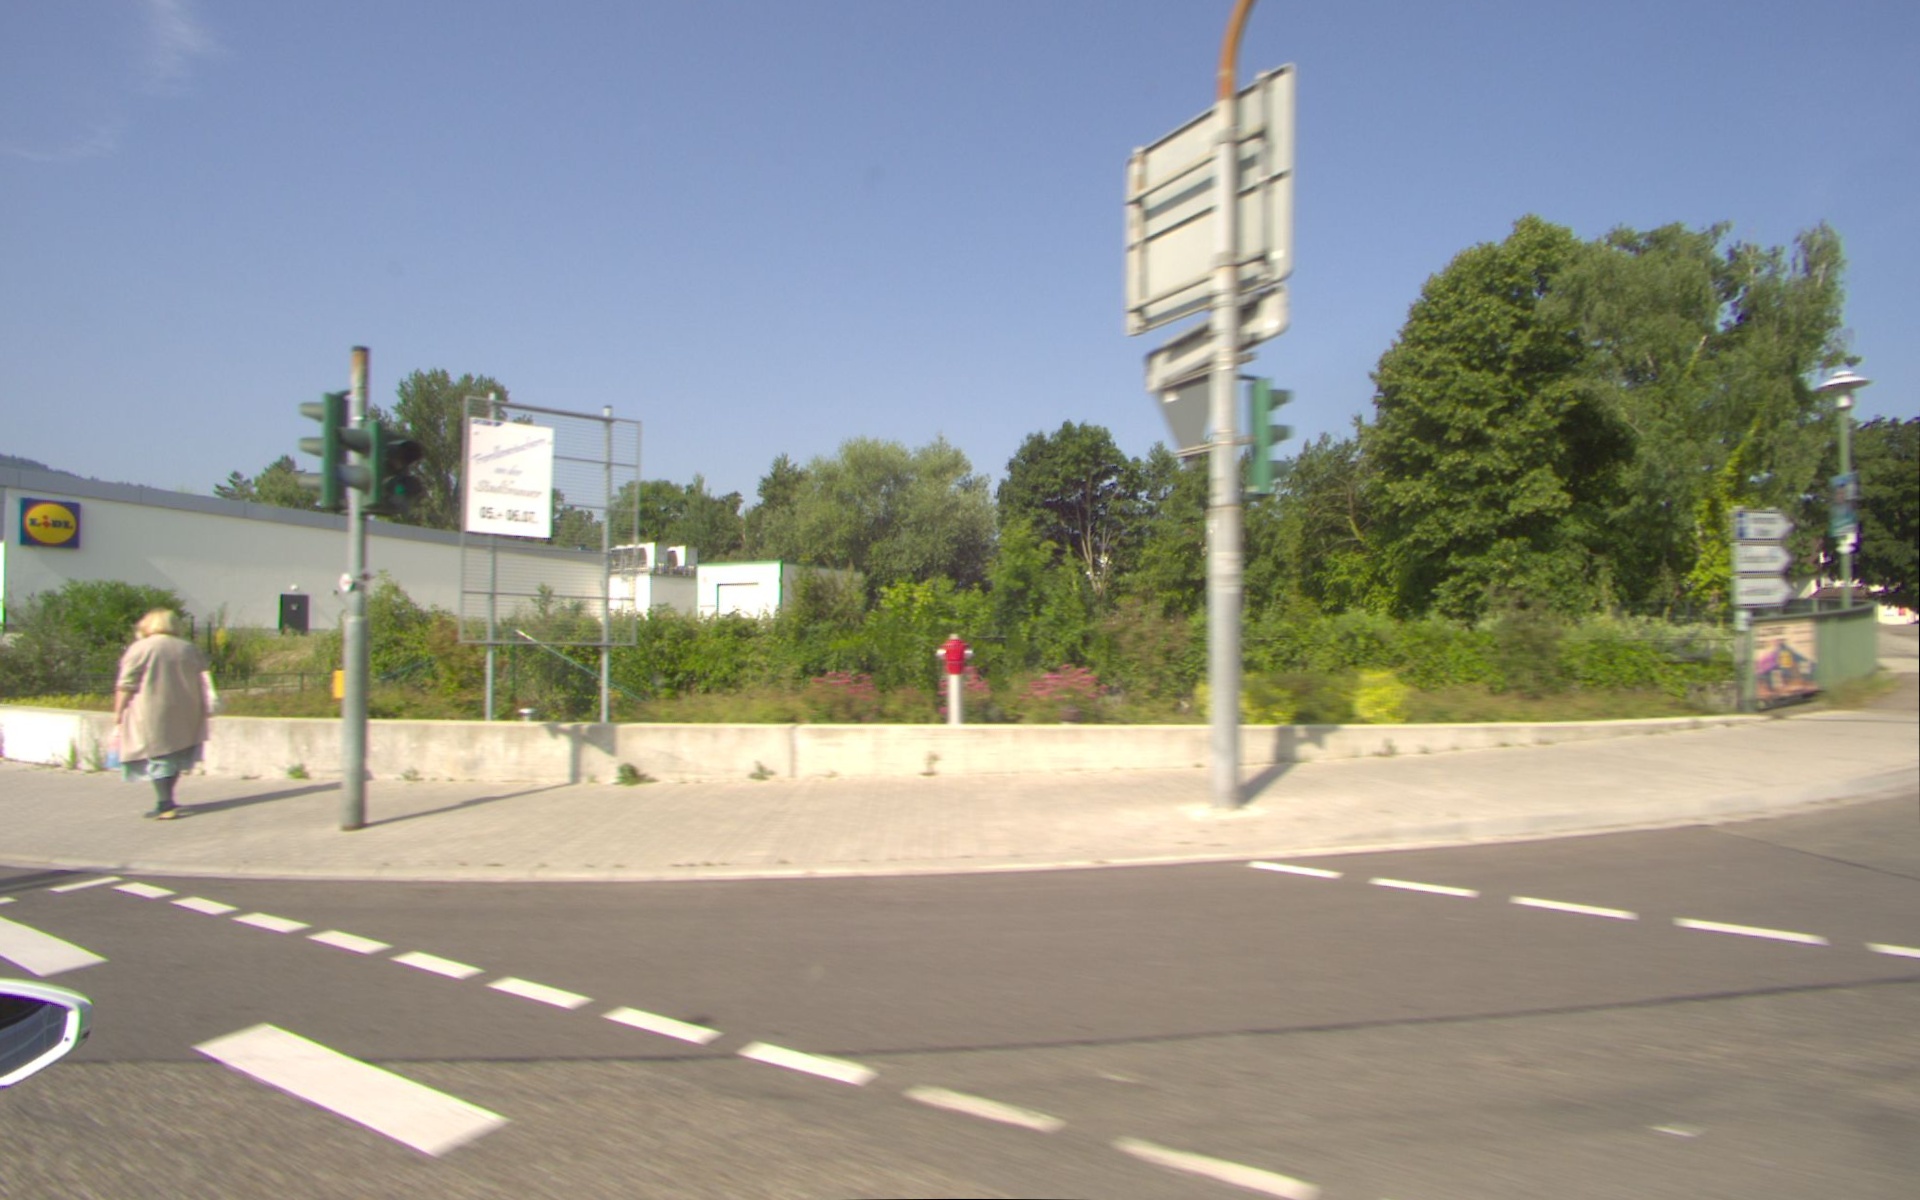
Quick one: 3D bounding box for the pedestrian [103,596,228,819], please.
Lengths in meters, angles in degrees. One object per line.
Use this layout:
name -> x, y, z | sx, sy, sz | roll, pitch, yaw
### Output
pedestrian -> -6.390, 0.831, 8.059 | 0.587, 1.692, 0.707 | -1, -1, 43
